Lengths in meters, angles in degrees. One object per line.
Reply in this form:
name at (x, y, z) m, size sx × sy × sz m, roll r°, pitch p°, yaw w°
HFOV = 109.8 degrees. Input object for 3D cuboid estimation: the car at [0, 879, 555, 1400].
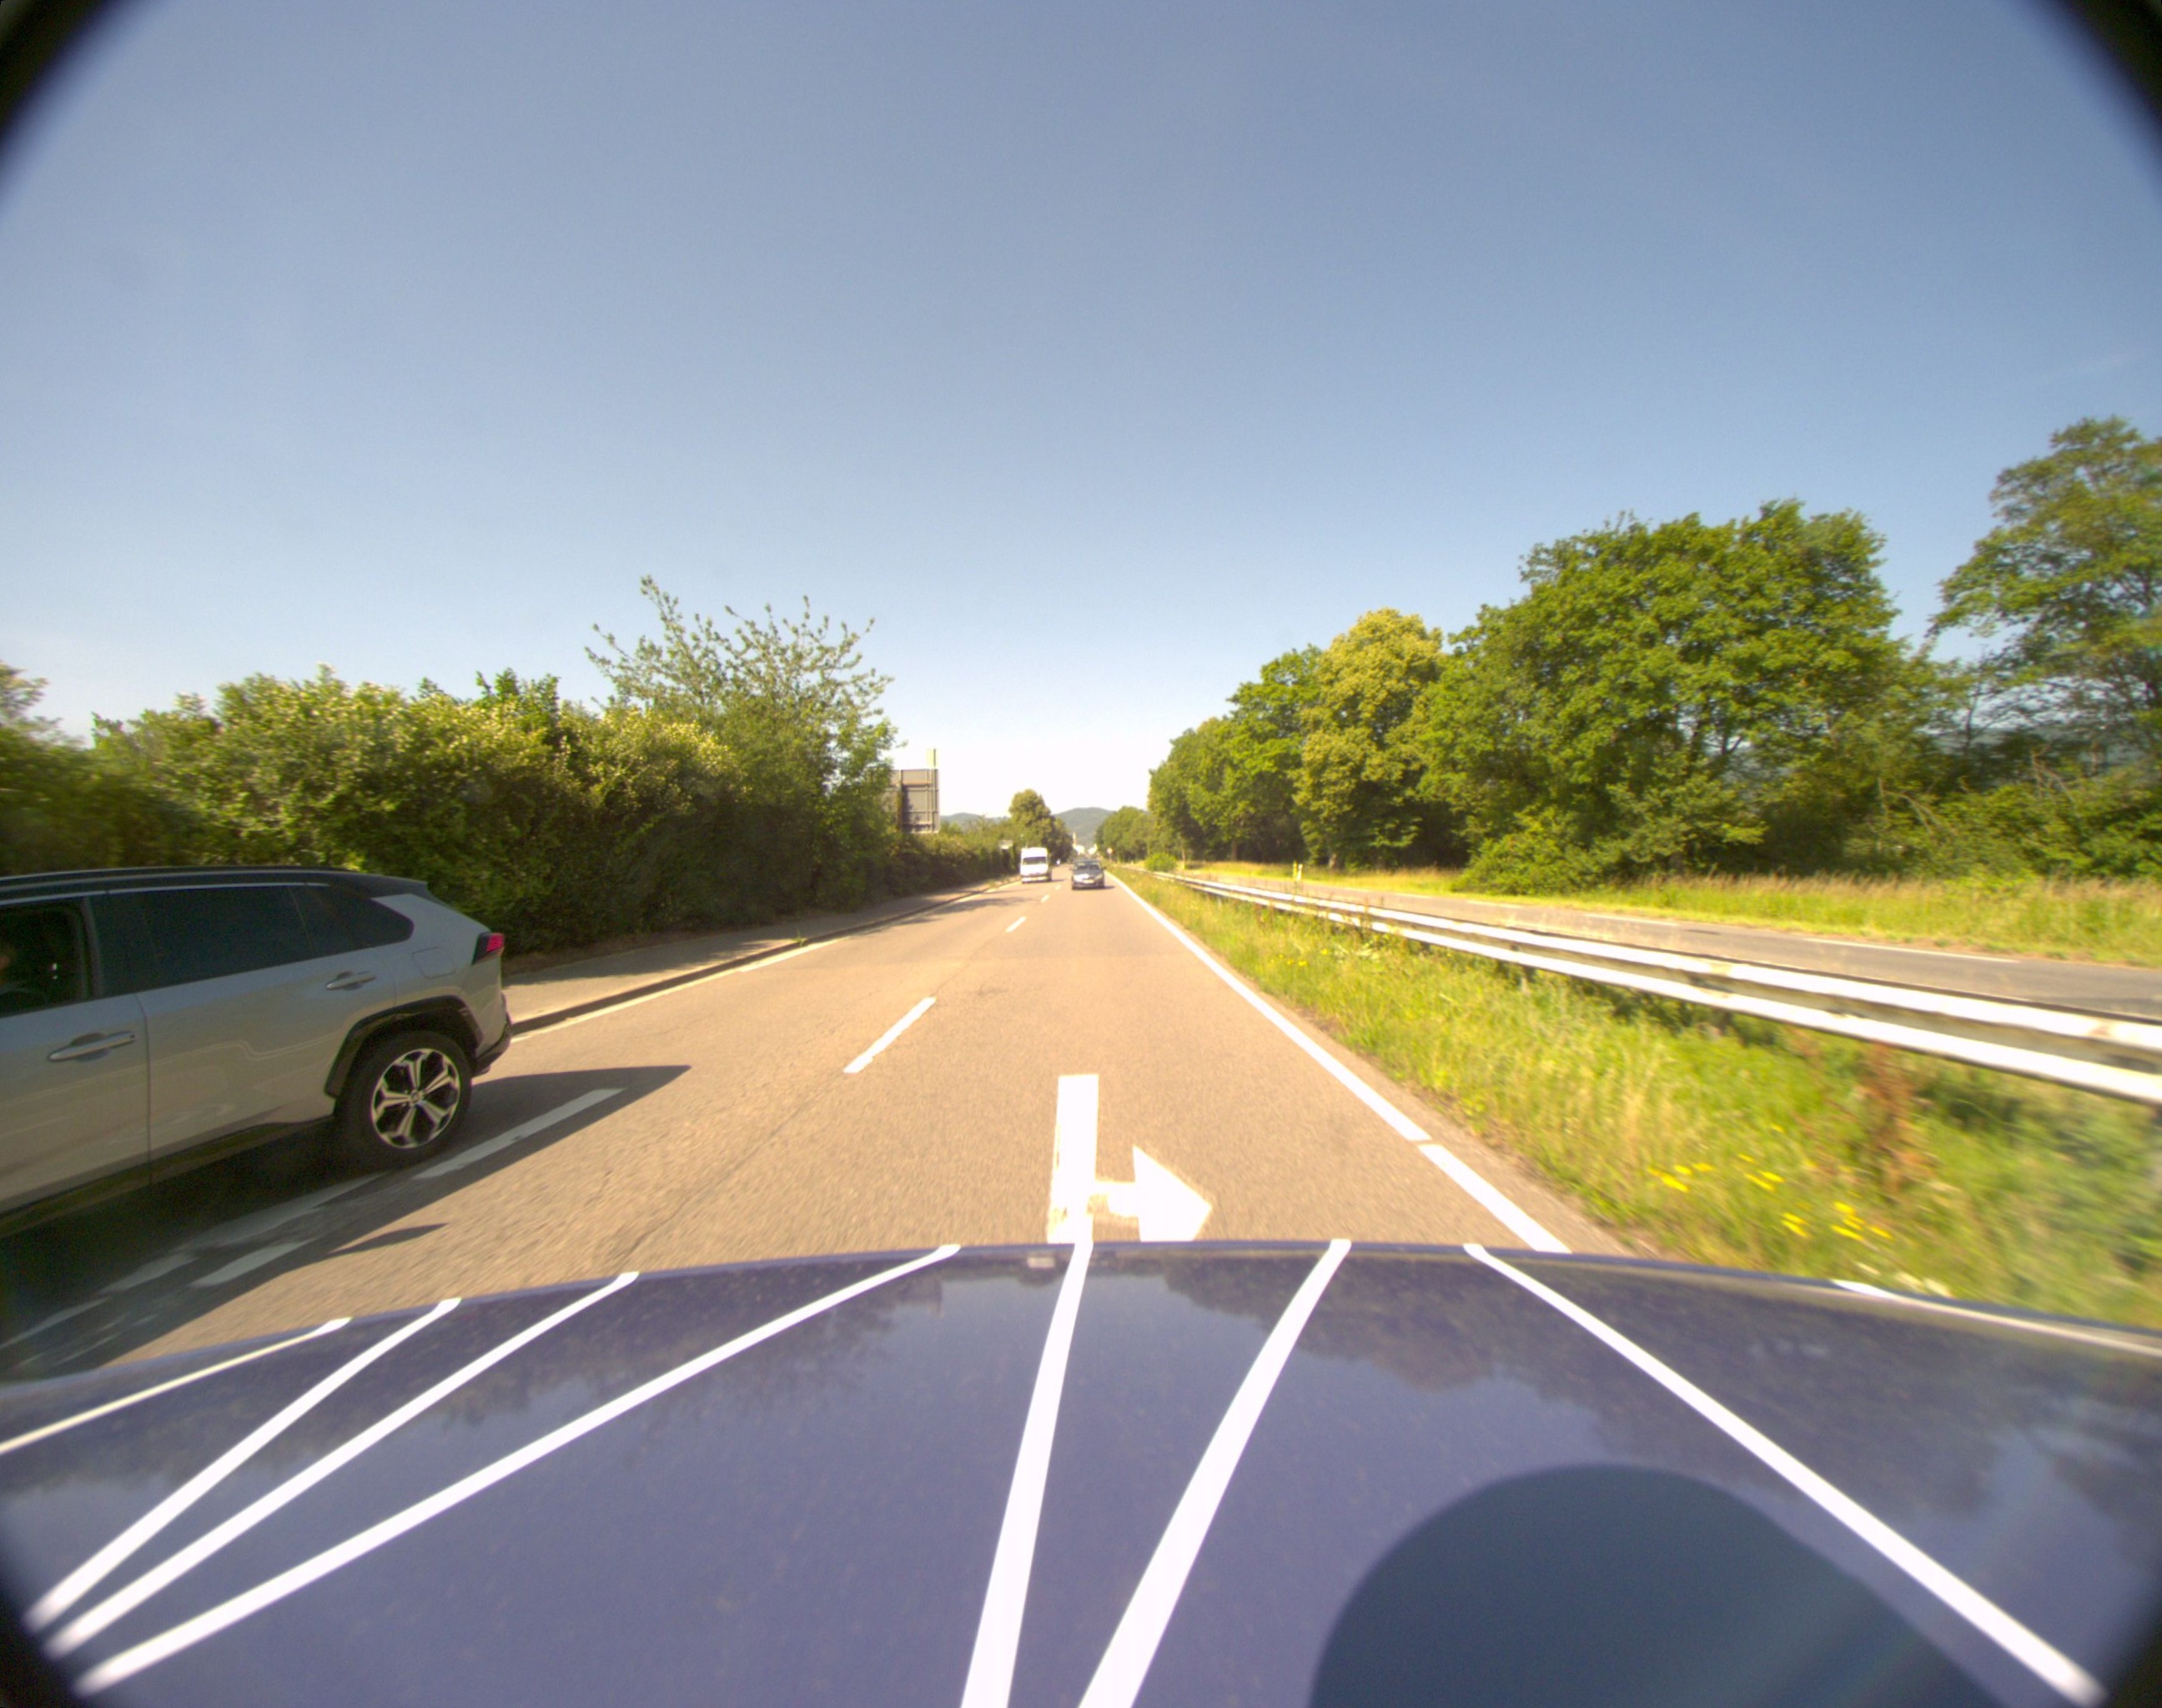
car at (-4.659, 1.086, 2.814) m, size 1.906 × 1.670 × 4.684 m, roll -4°, pitch 0°, yaw 2°

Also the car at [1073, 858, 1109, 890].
car at (0.479, 0.996, 38.805) m, size 1.678 × 1.435 × 4.361 m, roll -2°, pitch 0°, yaw 0°

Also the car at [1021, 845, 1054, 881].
car at (-3.062, 0.633, 54.906) m, size 1.998 × 2.432 × 5.088 m, roll -2°, pitch 0°, yaw 0°

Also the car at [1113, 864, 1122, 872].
car at (7.640, 2.998, 160.438) m, size 1.783 × 1.521 × 4.162 m, roll 0°, pitch 0°, yaw 1°

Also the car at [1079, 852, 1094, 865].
car at (0.643, 0.499, 86.962) m, size 1.678 × 1.435 × 3.622 m, roll -2°, pitch 0°, yaw 0°
